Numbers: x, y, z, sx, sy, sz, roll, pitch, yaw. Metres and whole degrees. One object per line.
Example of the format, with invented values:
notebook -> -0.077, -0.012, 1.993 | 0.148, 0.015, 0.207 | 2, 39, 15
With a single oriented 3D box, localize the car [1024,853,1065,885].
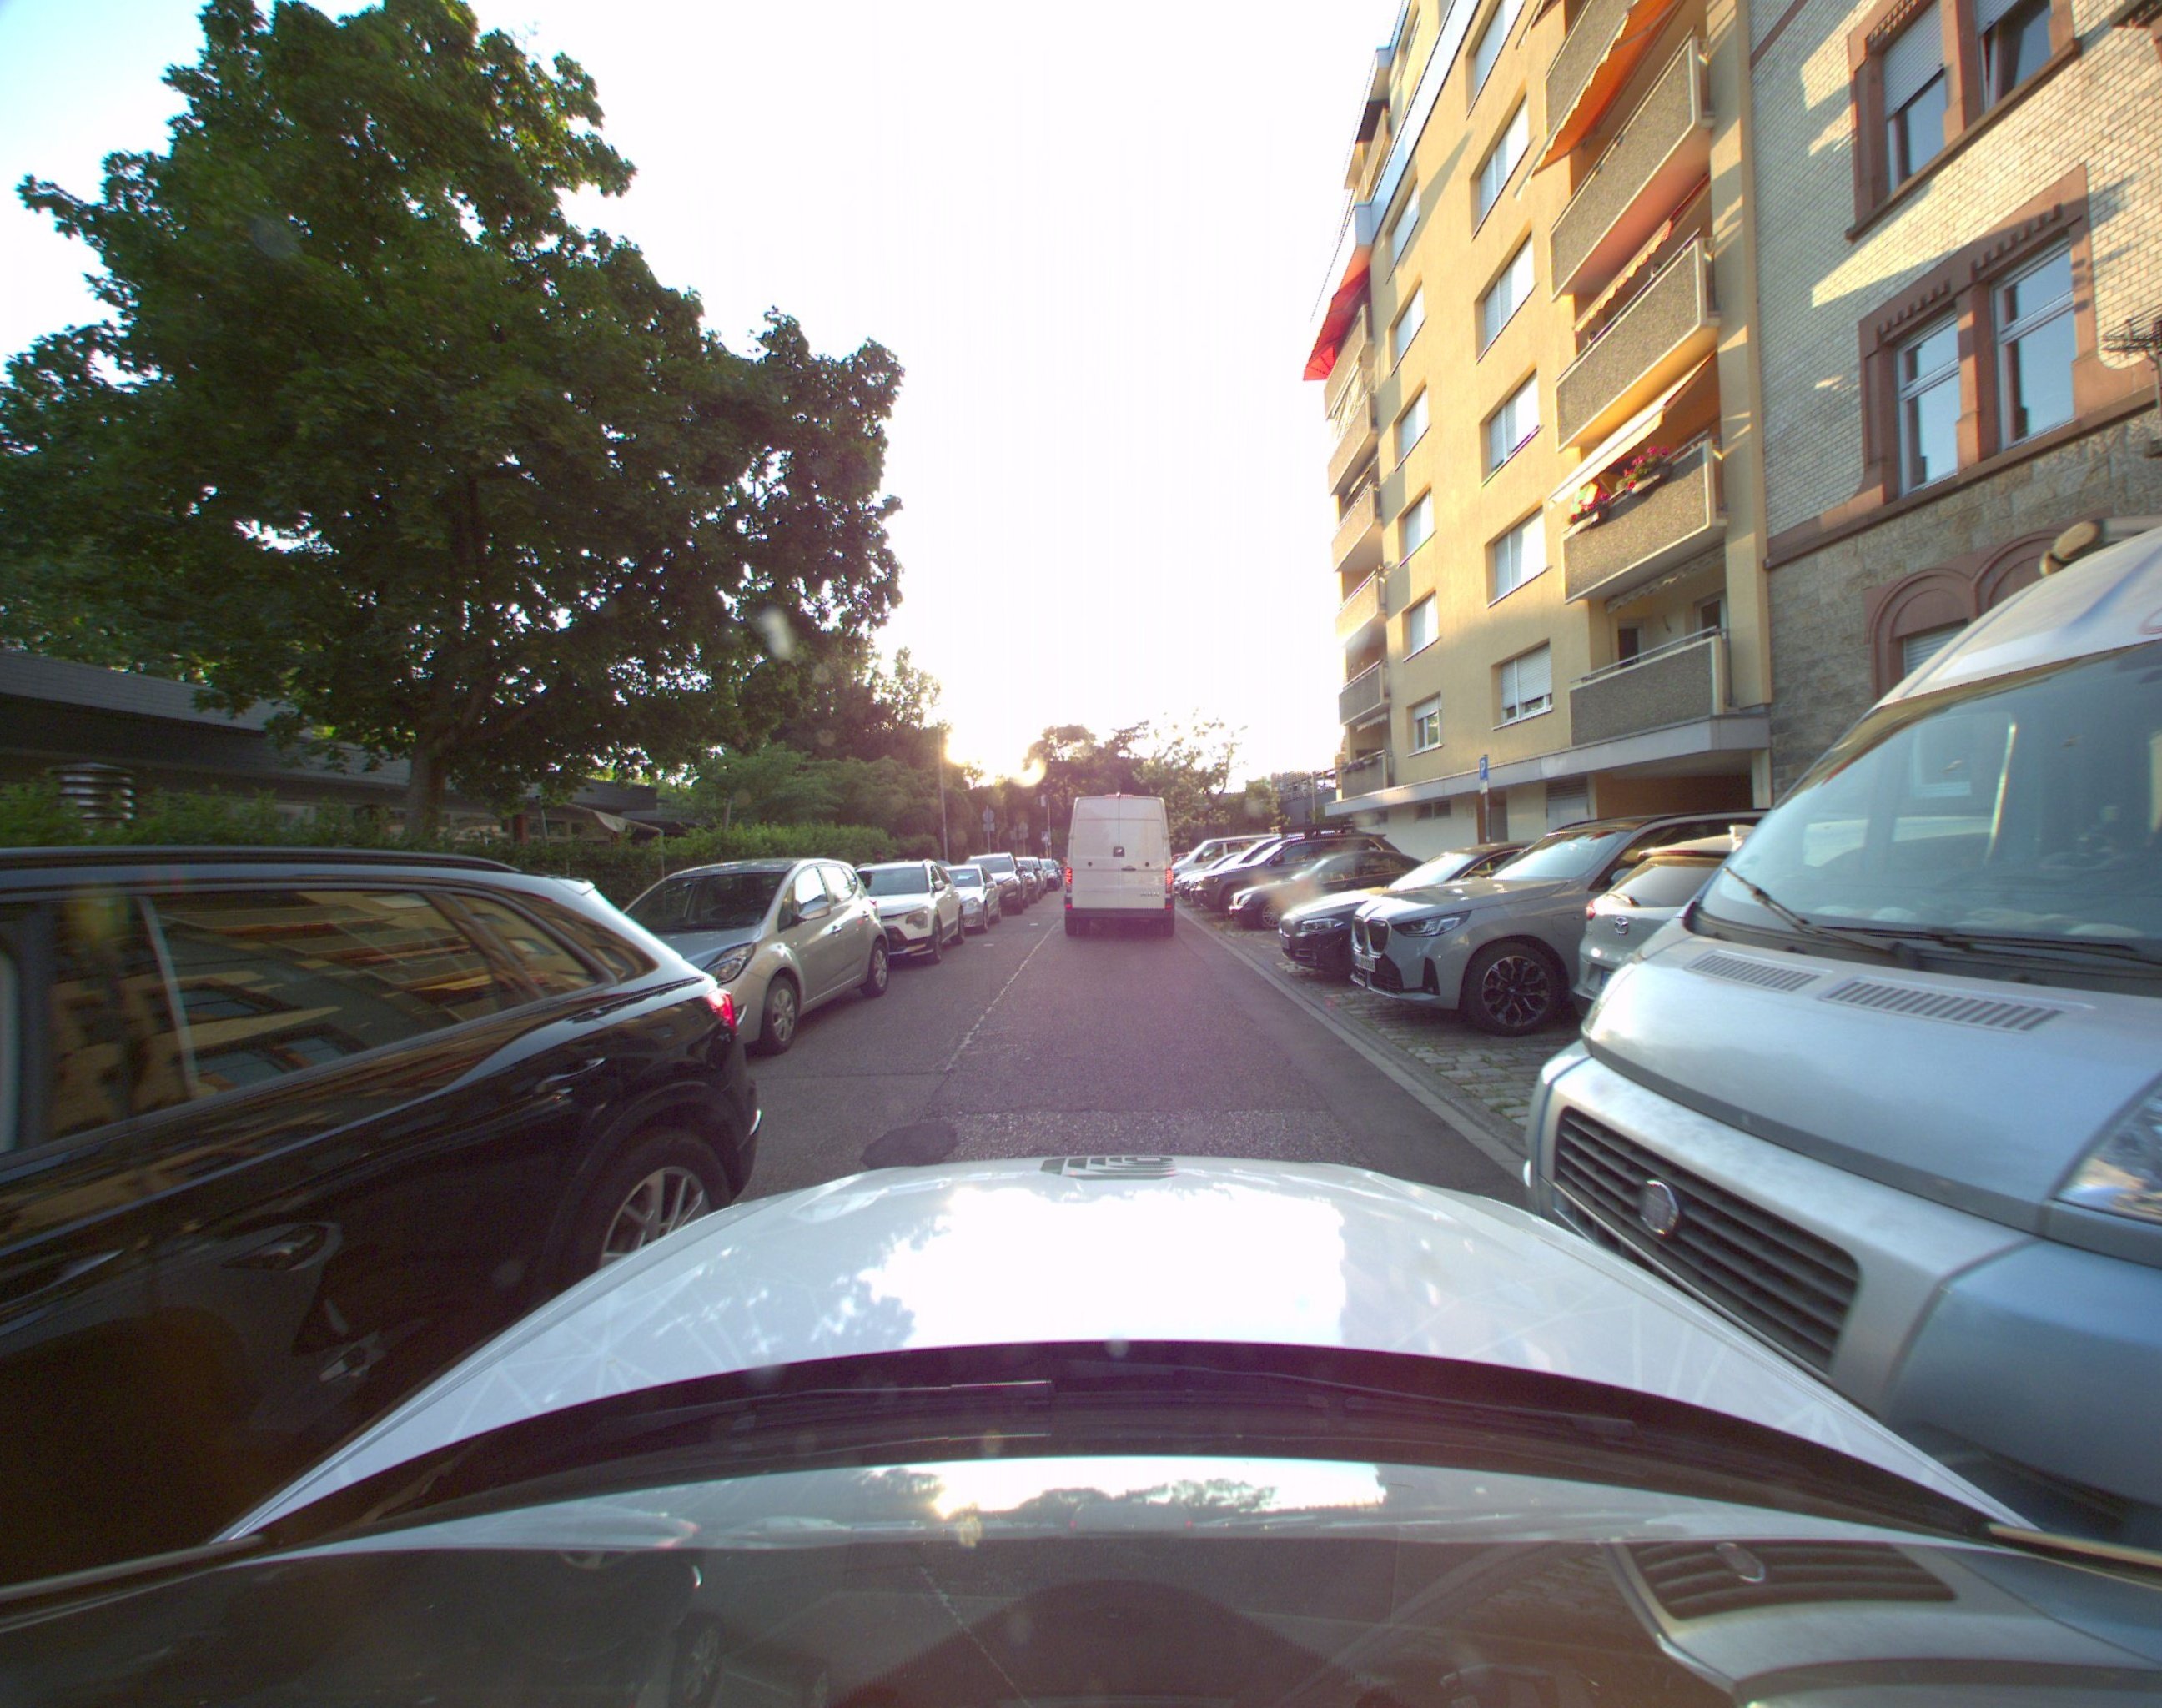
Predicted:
car -> -1.914, 0.786, 44.039 | 1.987, 1.618, 4.000 | -1, 0, 0

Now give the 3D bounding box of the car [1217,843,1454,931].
car -> 5.024, 0.636, 16.491 | 4.222, 1.425, 1.719 | -4, 0, 1

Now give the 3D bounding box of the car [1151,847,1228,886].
car -> 5.869, 0.651, 44.331 | 3.970, 2.013, 2.002 | -1, 0, 3

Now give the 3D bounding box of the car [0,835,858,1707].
car -> -2.256, 0.800, 1.416 | 1.793, 1.569, 4.577 | -3, 0, 9

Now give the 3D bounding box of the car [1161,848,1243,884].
car -> 6.201, 0.616, 42.002 | 3.971, 1.728, 2.001 | -1, 0, 2

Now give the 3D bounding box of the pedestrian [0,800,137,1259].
pedestrian -> -4.786, 0.707, 3.315 | 0.934, 1.830, 0.787 | -1, 0, 0

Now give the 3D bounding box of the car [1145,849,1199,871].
car -> 7.134, 0.454, 64.271 | 3.977, 1.618, 1.998 | -1, 0, -2

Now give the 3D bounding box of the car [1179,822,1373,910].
car -> 5.112, 0.299, 21.817 | 4.691, 2.145, 2.000 | -1, 0, 0

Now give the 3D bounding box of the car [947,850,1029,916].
car -> -2.556, 0.757, 23.289 | 1.989, 1.662, 3.996 | -1, 0, -2

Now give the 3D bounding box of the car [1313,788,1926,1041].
car -> 4.590, 0.451, 7.330 | 4.427, 1.728, 1.769 | -3, 0, -5

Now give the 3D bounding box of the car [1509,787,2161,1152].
car -> 5.236, 0.474, 4.890 | 4.427, 1.595, 1.769 | -3, 0, -5

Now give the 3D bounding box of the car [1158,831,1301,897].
car -> 5.196, 0.336, 28.925 | 4.691, 2.145, 2.000 | -1, 0, 0

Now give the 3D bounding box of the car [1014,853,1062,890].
car -> -1.983, 0.793, 38.525 | 1.987, 1.618, 4.000 | -1, 0, 0

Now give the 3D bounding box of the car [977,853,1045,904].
car -> -2.359, 0.788, 28.495 | 1.987, 1.618, 4.000 | -1, 0, 0

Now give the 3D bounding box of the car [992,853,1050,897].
car -> -2.333, 0.782, 32.810 | 1.987, 1.618, 4.000 | -1, 0, 0

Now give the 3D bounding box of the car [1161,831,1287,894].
car -> 5.387, 0.316, 31.107 | 4.480, 2.230, 2.032 | -1, 0, 1

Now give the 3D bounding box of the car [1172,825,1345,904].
car -> 5.175, 0.295, 24.244 | 4.691, 2.145, 2.000 | -1, 0, 0

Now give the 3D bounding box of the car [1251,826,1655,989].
car -> 4.302, 0.577, 9.858 | 3.978, 1.453, 1.834 | -5, 0, -3

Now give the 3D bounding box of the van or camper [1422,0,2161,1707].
van or camper -> 4.194, -0.023, 1.880 | 5.908, 2.770, 2.110 | -1, 0, 0

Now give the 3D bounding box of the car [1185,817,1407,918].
car -> 4.926, 0.305, 19.151 | 4.691, 2.145, 2.000 | -1, 0, 0

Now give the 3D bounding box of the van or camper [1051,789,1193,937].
van or camper -> 0.938, 0.158, 17.096 | 2.442, 2.547, 6.090 | 0, 0, 4

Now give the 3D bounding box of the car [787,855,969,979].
car -> -3.024, 0.848, 13.031 | 1.851, 1.555, 4.098 | -4, 0, -1

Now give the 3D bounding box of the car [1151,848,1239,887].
car -> 5.389, 0.624, 38.979 | 3.971, 1.728, 2.001 | -1, 0, 2

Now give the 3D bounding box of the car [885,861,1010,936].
car -> -2.819, 0.896, 18.084 | 1.986, 1.398, 4.001 | -1, 0, 1

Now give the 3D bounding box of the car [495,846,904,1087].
car -> -3.225, 0.822, 7.927 | 1.775, 1.631, 4.004 | -4, 0, 4
